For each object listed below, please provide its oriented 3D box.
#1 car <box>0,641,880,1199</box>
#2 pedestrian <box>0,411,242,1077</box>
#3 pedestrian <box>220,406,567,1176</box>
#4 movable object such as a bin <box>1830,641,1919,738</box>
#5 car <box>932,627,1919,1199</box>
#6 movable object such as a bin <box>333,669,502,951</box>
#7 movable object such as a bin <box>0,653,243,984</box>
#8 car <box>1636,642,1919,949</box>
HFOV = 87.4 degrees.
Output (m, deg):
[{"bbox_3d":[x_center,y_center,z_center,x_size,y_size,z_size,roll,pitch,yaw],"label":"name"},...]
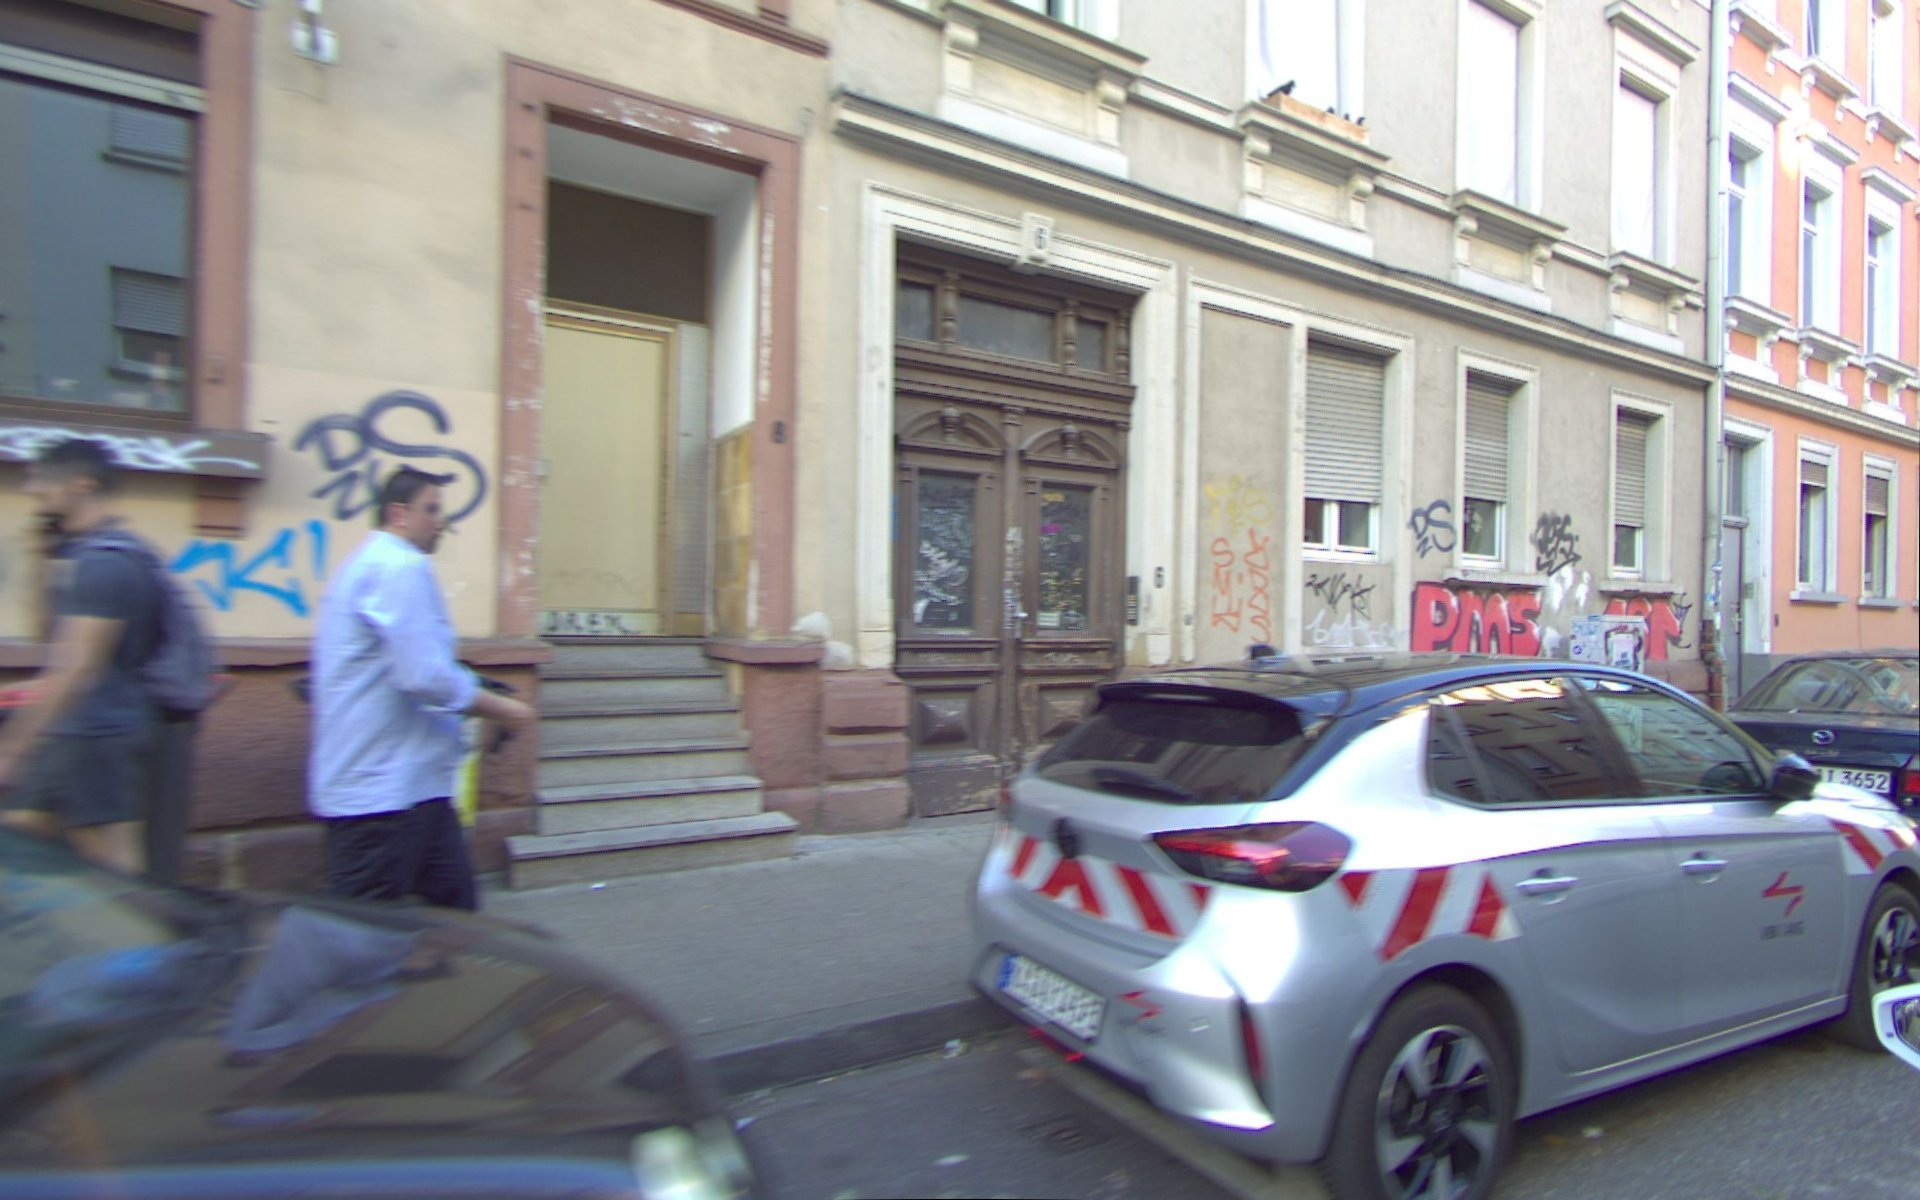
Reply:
[{"bbox_3d":[-2.056,0.789,1.114,3.610,1.459,1.584,1,-2,-30],"label":"car"},{"bbox_3d":[-2.758,0.408,3.152,0.745,1.883,0.607,1,1,-31],"label":"pedestrian"},{"bbox_3d":[-1.584,0.460,2.864,0.745,1.842,0.648,1,1,-30],"label":"pedestrian"},{"bbox_3d":[11.362,1.094,12.281,0.707,1.141,0.832,1,-6,-28],"label":"movable object such as a bin"},{"bbox_3d":[1.975,0.840,3.723,3.840,1.449,1.667,1,-2,-29],"label":"car"},{"bbox_3d":[-2.351,0.845,4.357,0.584,1.038,0.727,1,0,-30],"label":"movable object such as a bin"},{"bbox_3d":[-3.252,0.765,3.823,0.747,1.039,0.786,1,3,-29],"label":"movable object such as a bin"},{"bbox_3d":[6.187,0.990,6.216,4.252,1.432,1.698,1,-2,-31],"label":"car"}]
